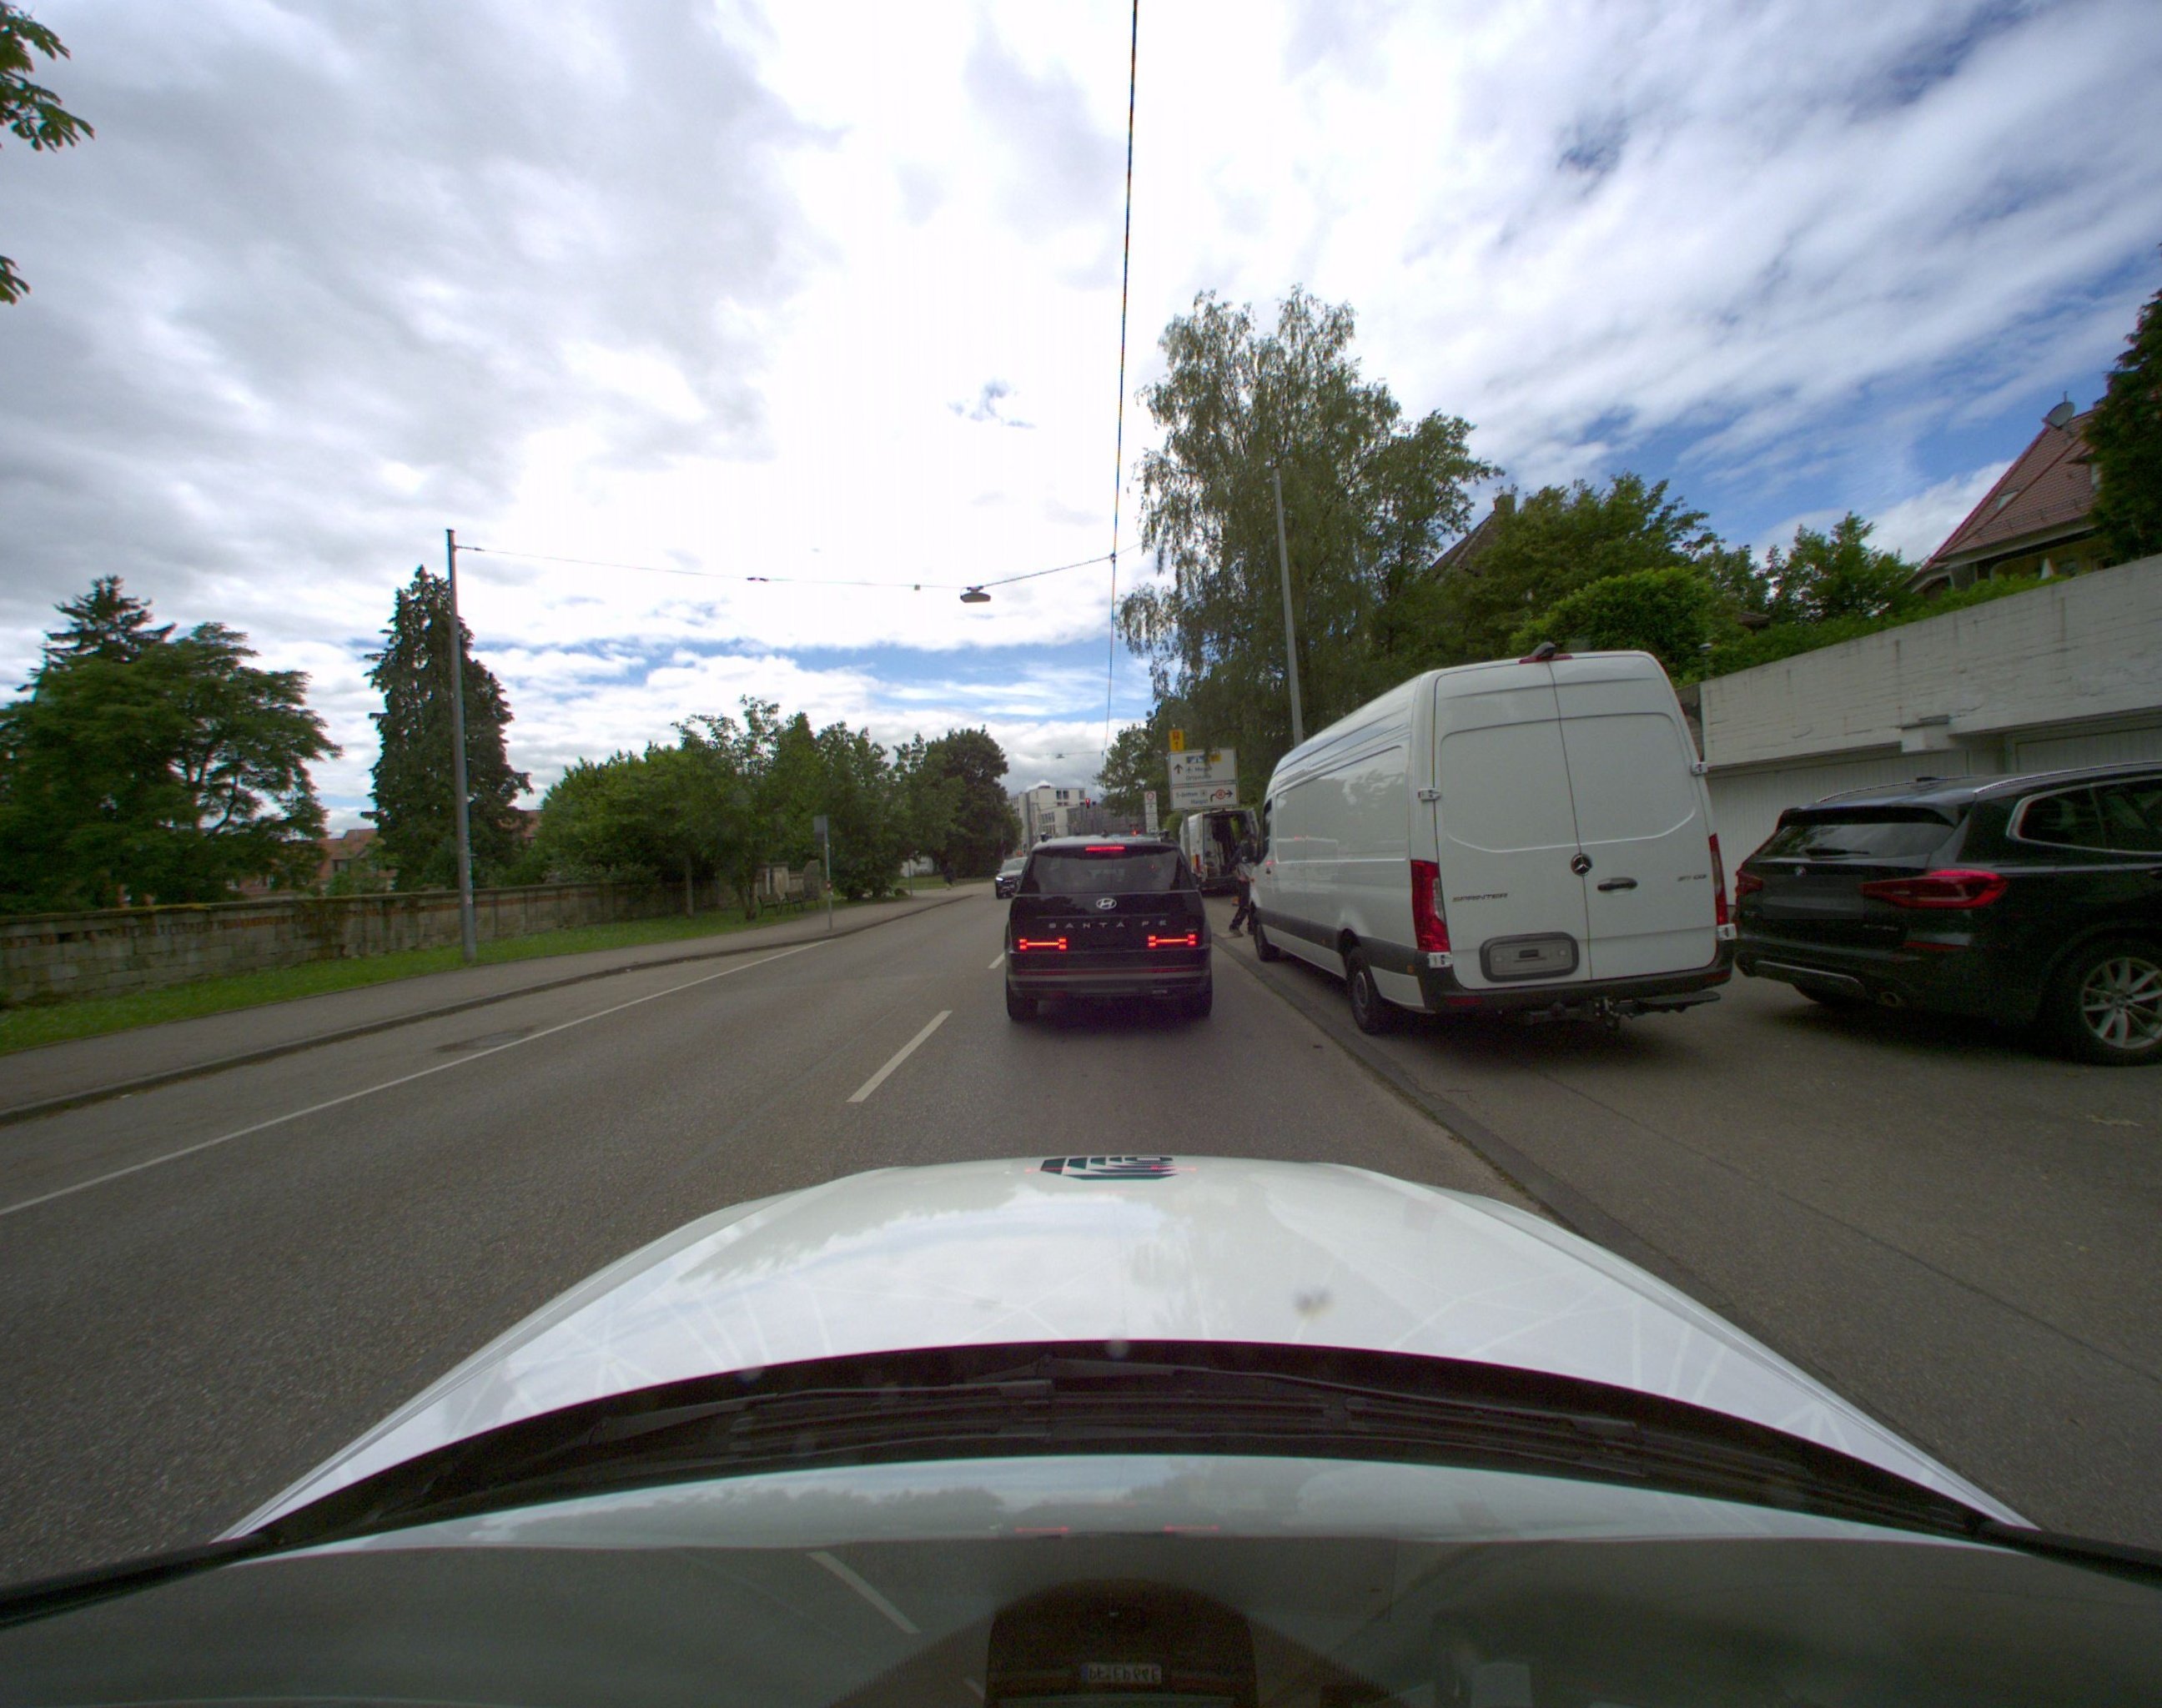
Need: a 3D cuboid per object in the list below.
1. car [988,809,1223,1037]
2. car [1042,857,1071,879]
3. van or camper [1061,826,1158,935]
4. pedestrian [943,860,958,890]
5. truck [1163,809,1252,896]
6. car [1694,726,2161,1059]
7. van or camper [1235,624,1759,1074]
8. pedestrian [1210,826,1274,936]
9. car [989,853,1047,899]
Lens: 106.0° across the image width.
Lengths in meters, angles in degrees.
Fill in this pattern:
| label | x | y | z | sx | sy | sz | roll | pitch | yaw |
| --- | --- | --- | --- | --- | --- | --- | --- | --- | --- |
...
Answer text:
| label | x | y | z | sx | sy | sz | roll | pitch | yaw |
| --- | --- | --- | --- | --- | --- | --- | --- | --- | --- |
| car | 0.263 | 0.567 | 8.669 | 1.883 | 1.819 | 4.002 | -2 | 0 | 2 |
| car | -1.868 | 1.039 | 63.482 | 1.852 | 1.453 | 4.112 | -6 | 0 | 2 |
| van or camper | 0.611 | 0.510 | 17.612 | 1.748 | 2.013 | 4.002 | -3 | 0 | 2 |
| pedestrian | -7.702 | 1.257 | 48.042 | 0.737 | 1.715 | 0.791 | -3 | 0 | -5 |
| truck | 4.219 | -0.027 | 28.072 | 1.937 | 2.561 | 5.213 | -5 | -1 | -1 |
| car | 6.859 | 0.130 | 5.229 | 4.398 | 1.750 | 1.739 | -3 | 0 | 3 |
| van or camper | 3.130 | -0.028 | 8.198 | 1.986 | 2.620 | 6.543 | -3 | 0 | 2 |
| pedestrian | 2.758 | 0.447 | 14.006 | 0.867 | 1.797 | 0.760 | -3 | 0 | 1 |
| car | -2.586 | 0.860 | 34.388 | 1.852 | 1.657 | 4.307 | -6 | 0 | 2 |
